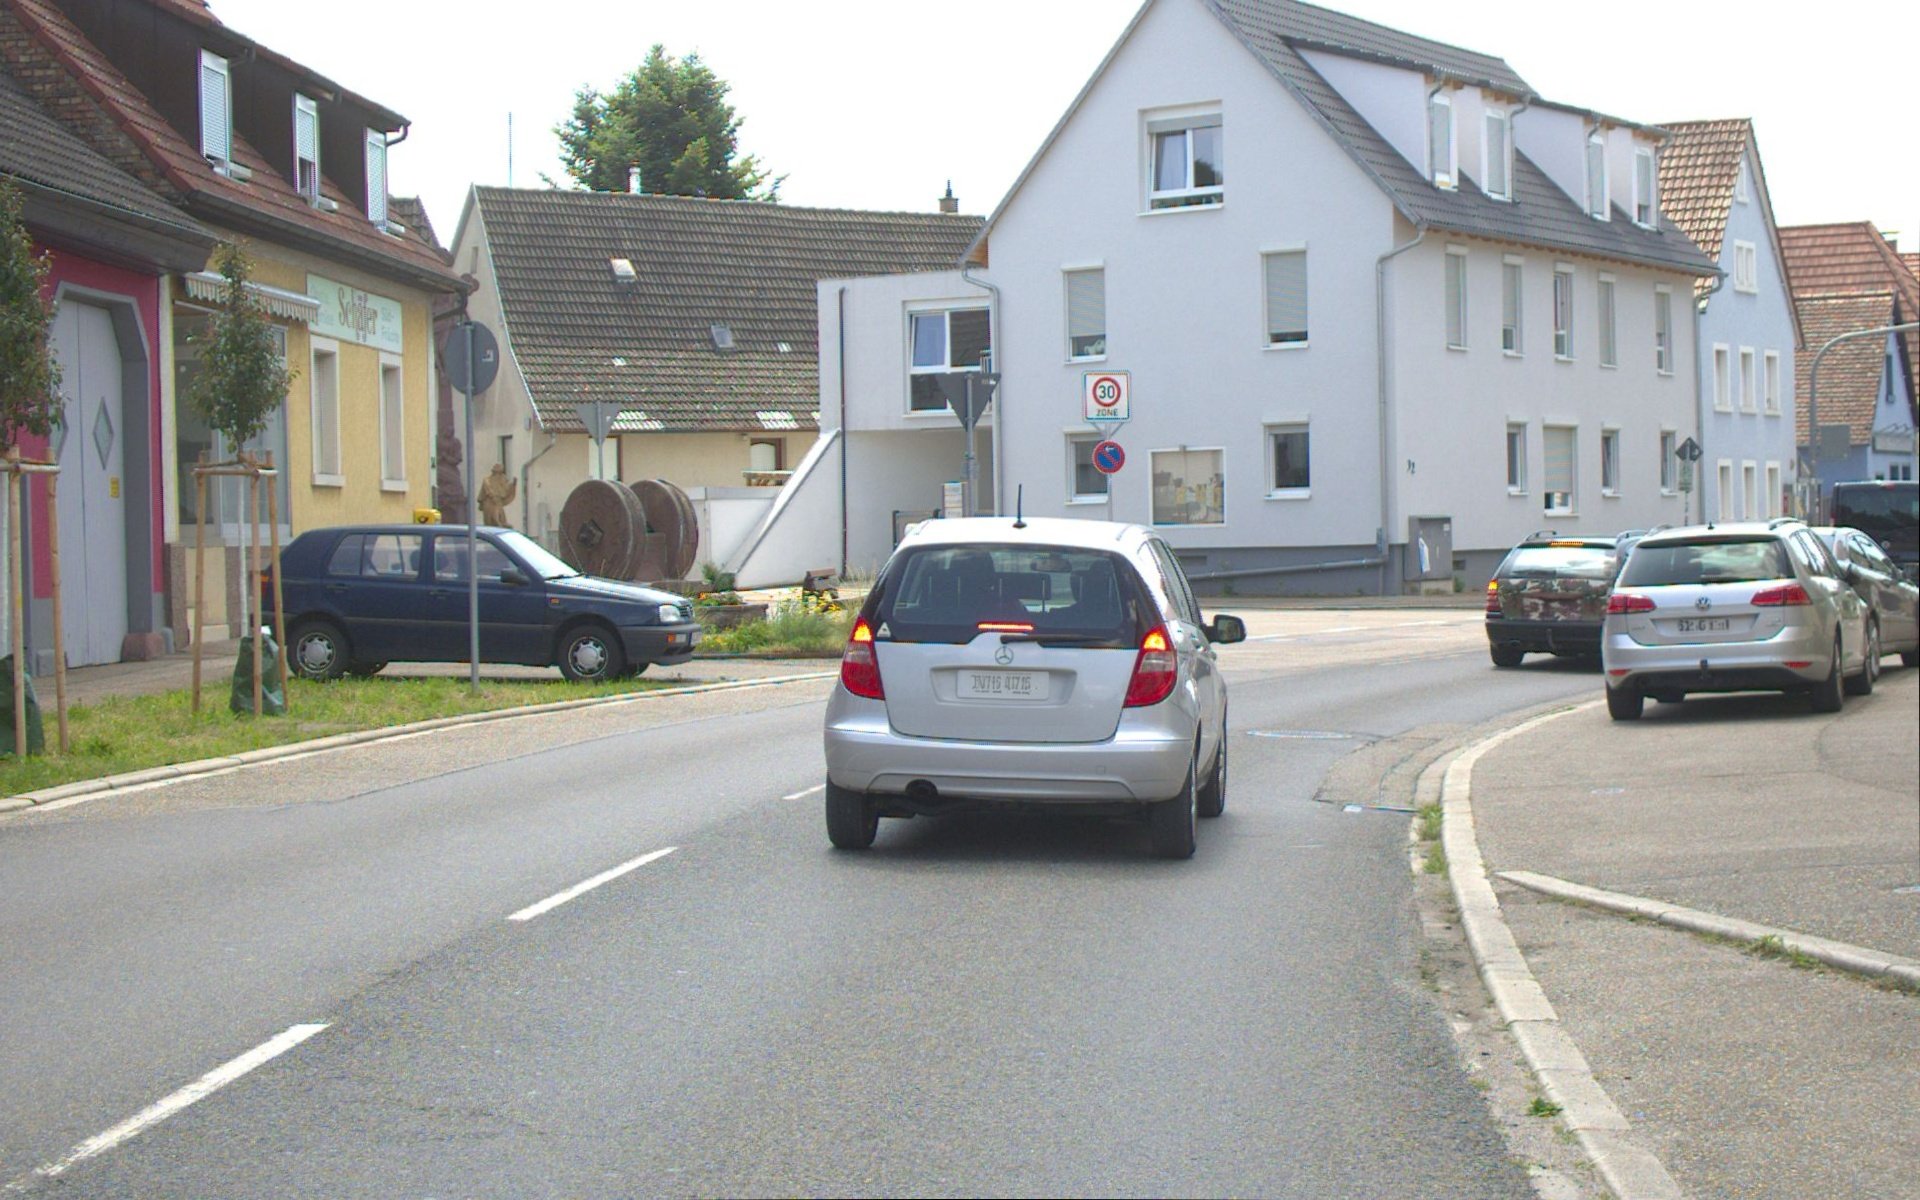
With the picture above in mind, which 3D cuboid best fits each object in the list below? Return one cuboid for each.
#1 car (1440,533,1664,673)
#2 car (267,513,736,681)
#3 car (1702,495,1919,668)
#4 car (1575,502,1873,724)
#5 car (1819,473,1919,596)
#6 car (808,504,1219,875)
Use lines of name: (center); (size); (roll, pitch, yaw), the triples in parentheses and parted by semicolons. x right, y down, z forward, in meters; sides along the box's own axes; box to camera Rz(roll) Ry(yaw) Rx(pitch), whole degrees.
car: (6.395, 0.026, 36.812); (1.751, 1.411, 3.996); (0, 0, 19)
car: (-4.125, -0.047, 31.281); (3.967, 1.459, 1.721); (0, 1, 4)
car: (8.122, -0.171, 32.380); (1.886, 1.525, 3.997); (0, 0, 17)
car: (6.108, 0.059, 27.142); (1.886, 1.525, 4.332); (-3, 0, 17)
car: (14.641, -0.969, 52.803); (1.996, 1.809, 3.994); (0, 0, 26)
car: (0.376, 0.352, 17.462); (1.811, 1.638, 3.729); (1, 2, 5)
